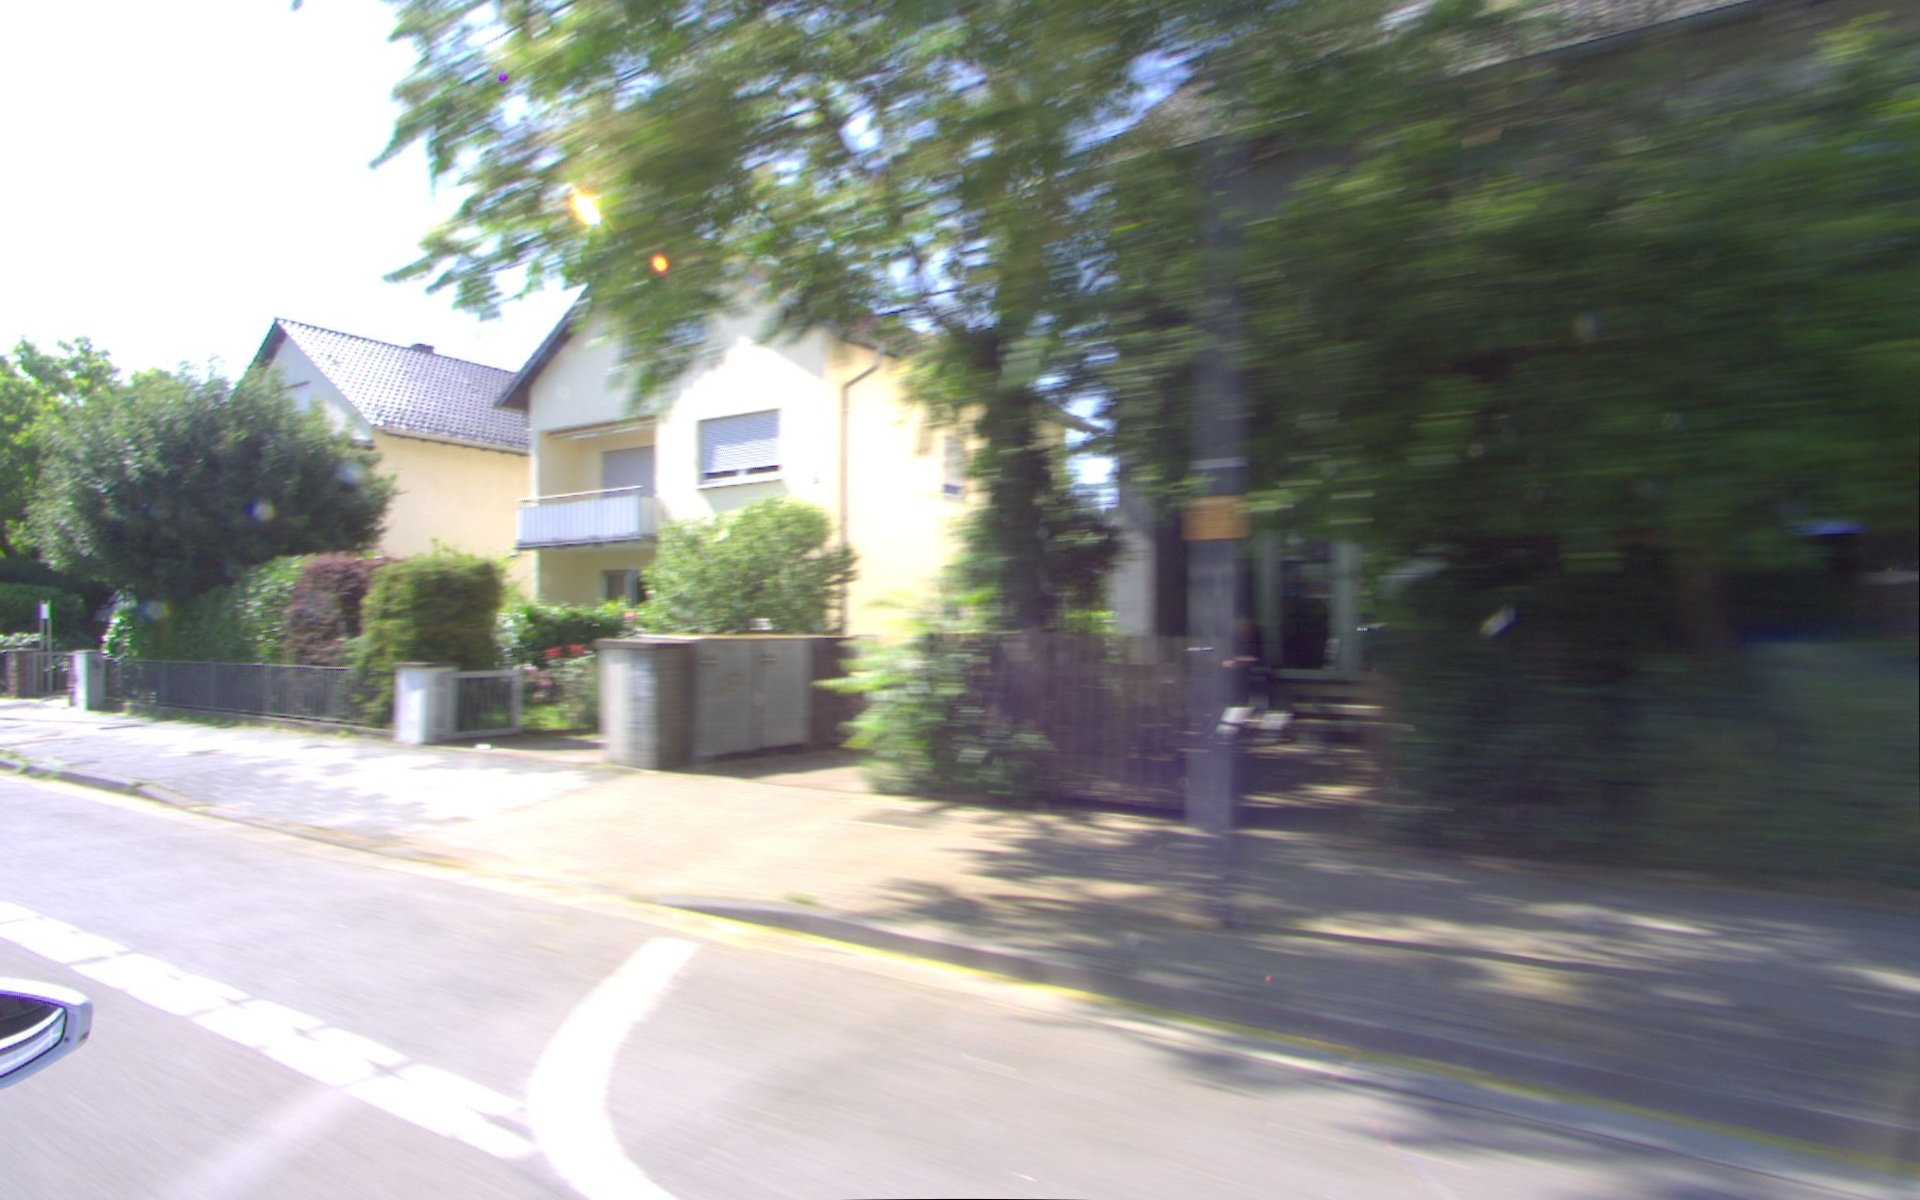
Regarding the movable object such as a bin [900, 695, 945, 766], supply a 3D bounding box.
[{"bbox_3d":[-0.507,1.760,13.549,0.467,0.911,0.354,-1,-5,32],"label":"movable object such as a bin"}]
